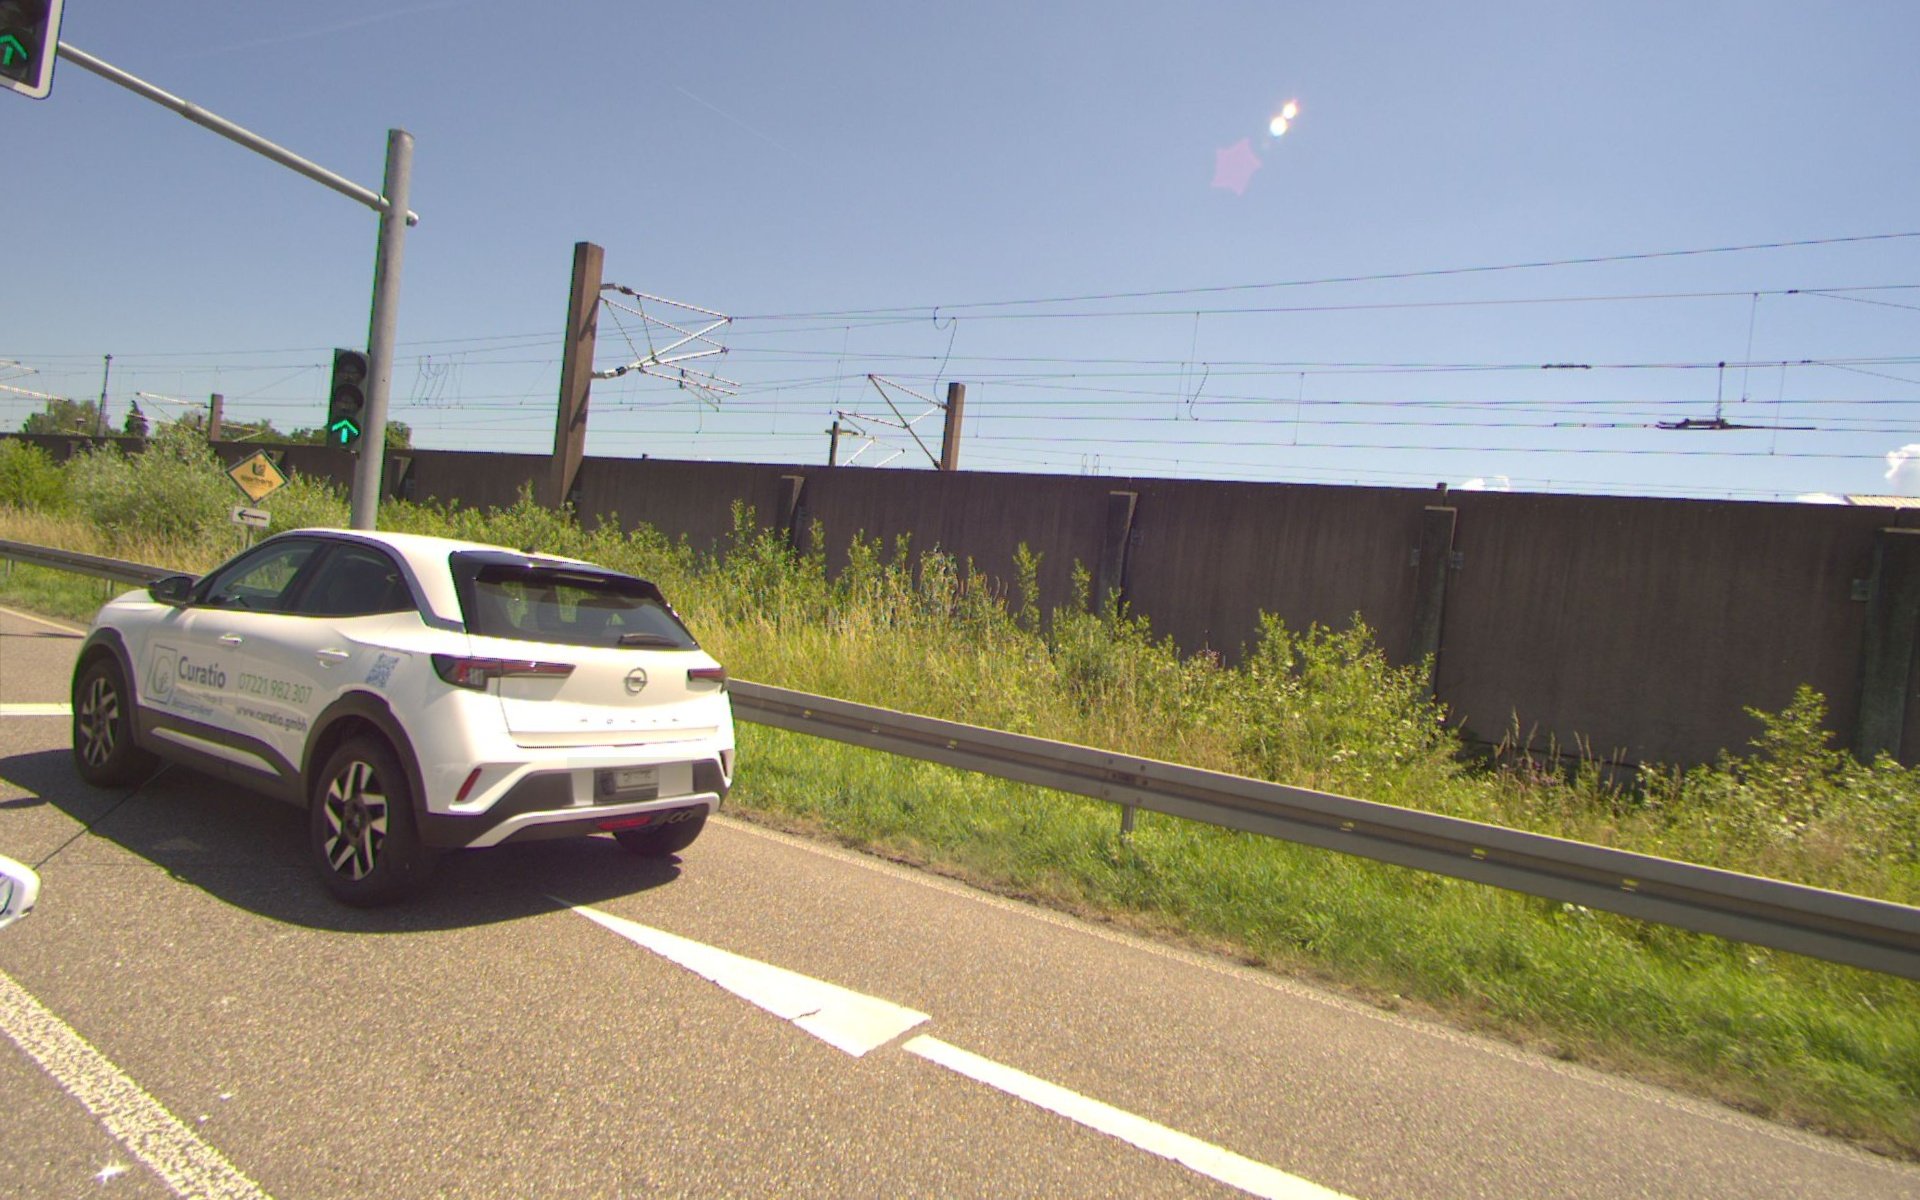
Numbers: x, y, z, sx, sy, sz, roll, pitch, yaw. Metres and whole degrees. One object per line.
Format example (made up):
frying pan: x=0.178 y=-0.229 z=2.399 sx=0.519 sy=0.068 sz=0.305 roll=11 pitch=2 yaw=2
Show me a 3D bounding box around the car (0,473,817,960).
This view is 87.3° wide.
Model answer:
car: x=-3.090 y=0.364 z=5.446 sx=4.205 sy=1.582 sz=1.822 roll=7 pitch=-1 yaw=29
